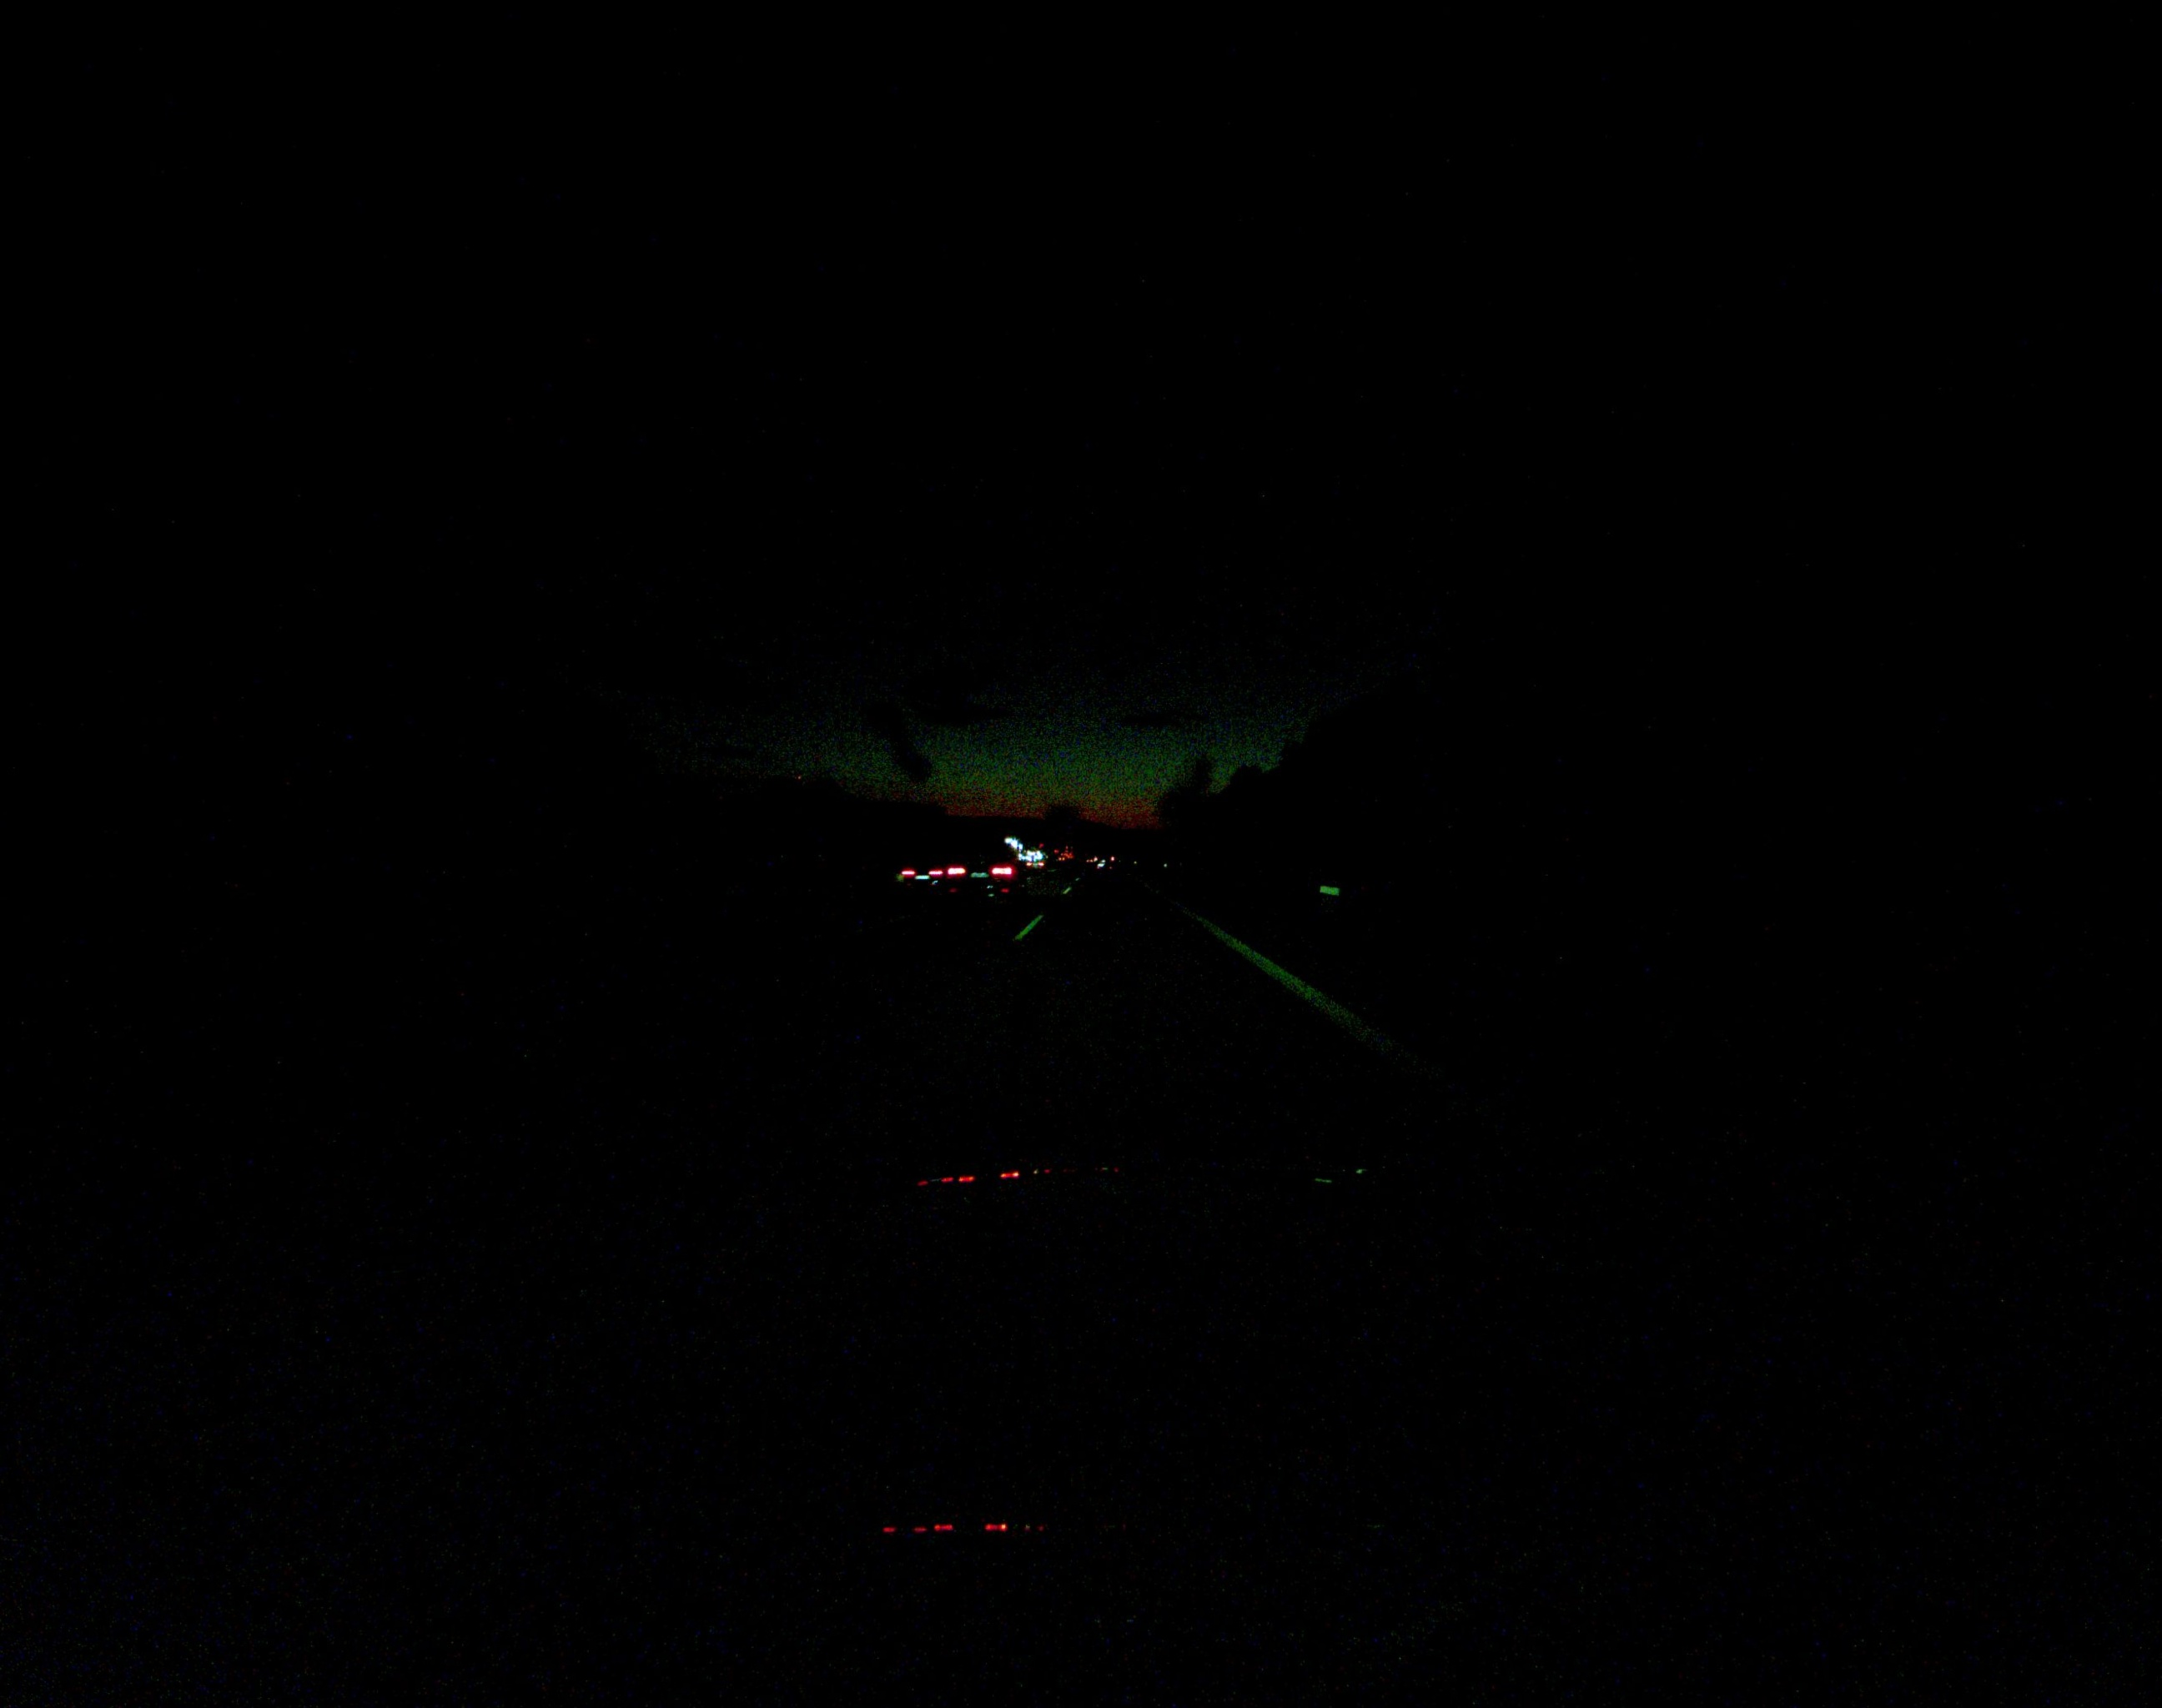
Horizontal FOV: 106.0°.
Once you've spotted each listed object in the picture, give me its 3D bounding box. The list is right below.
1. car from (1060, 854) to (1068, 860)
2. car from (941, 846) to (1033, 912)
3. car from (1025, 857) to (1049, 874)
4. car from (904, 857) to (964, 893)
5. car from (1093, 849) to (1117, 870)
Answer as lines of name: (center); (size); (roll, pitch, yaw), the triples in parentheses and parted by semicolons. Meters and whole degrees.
car: (-5.347, 0.936, 254.400); (2.188, 1.955, 4.637); (2, 1, 3)
car: (-2.696, 0.687, 24.852); (1.987, 1.721, 5.943); (-2, 0, 1)
car: (-4.311, 1.076, 80.791); (1.772, 1.486, 5.257); (2, 1, 3)
car: (-6.301, 0.872, 35.473); (1.544, 1.431, 5.514); (-1, 0, 0)
car: (2.400, 0.485, 80.894); (2.187, 1.955, 4.769); (-1, 1, 4)
